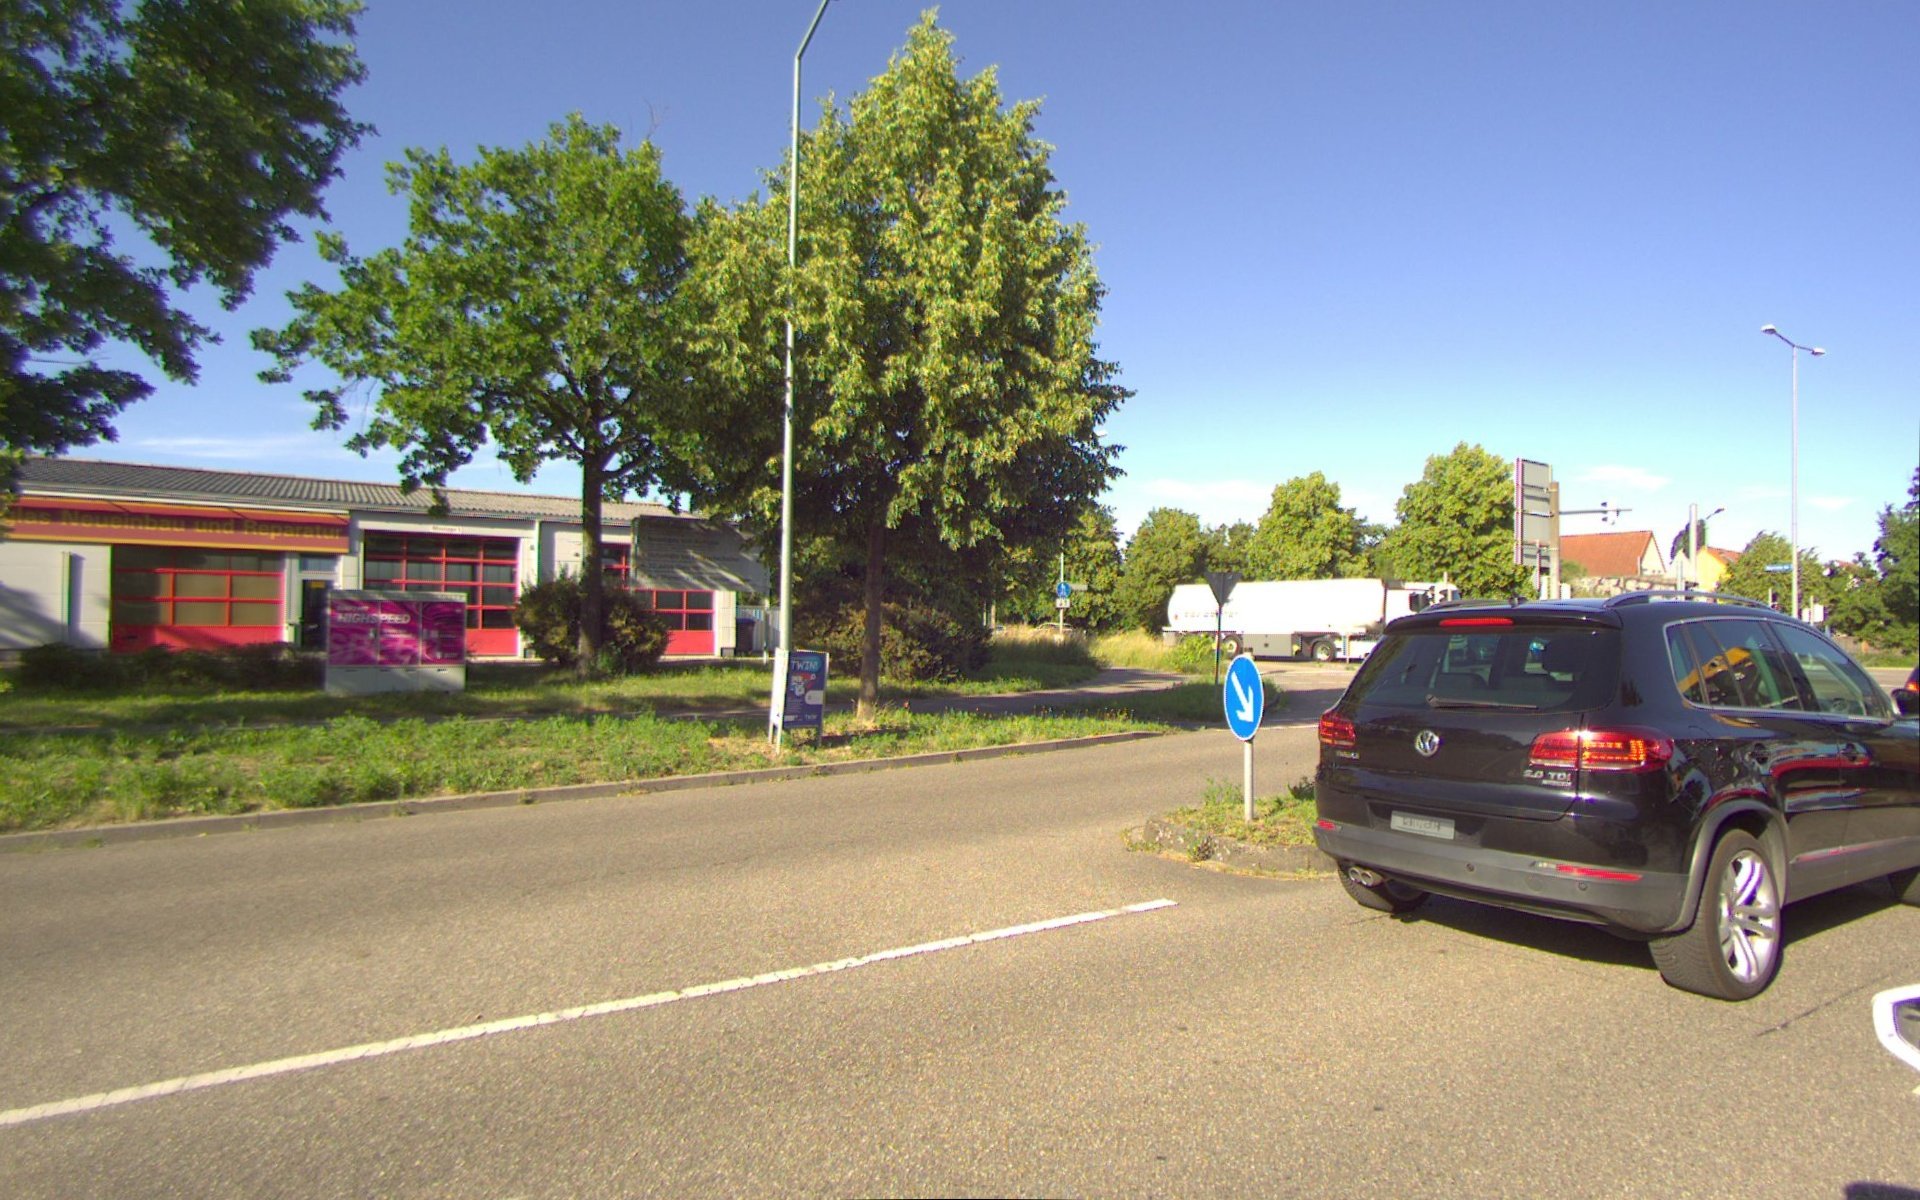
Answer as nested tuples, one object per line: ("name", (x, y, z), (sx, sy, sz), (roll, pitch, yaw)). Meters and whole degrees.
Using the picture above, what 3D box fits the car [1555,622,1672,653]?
("car", (29.920, 1.702, 46.139), (1.558, 1.319, 4.265), (1, -1, -32))

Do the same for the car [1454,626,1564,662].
("car", (23.788, 1.887, 43.607), (1.668, 1.403, 3.817), (2, -1, -38))

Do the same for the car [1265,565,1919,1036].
("car", (3.727, 0.827, 5.442), (3.957, 1.695, 1.812), (2, -3, -31))

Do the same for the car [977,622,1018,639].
("car", (3.249, 2.661, 87.853), (1.666, 1.358, 3.821), (2, -1, -34))

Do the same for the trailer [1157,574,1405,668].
("trailer", (14.029, 0.913, 45.311), (2.373, 3.745, 11.391), (1, -1, -37))

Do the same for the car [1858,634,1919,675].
("car", (39.880, 2.253, 41.446), (1.678, 1.633, 3.961), (1, -1, -35))

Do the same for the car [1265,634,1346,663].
("car", (20.201, 2.819, 58.894), (1.560, 1.479, 4.383), (2, -1, -35))

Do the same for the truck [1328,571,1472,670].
("truck", (17.657, 0.831, 40.486), (2.389, 3.744, 4.765), (1, -1, -37))

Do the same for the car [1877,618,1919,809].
("car", (10.281, 0.974, 9.226), (3.988, 1.642, 1.744), (0, -1, -32))

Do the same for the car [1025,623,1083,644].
("car", (7.193, 2.560, 77.021), (1.979, 1.560, 4.675), (1, -1, -33))

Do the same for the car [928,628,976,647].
("car", (-0.723, 3.274, 89.076), (1.980, 1.560, 4.671), (1, -1, -35))
